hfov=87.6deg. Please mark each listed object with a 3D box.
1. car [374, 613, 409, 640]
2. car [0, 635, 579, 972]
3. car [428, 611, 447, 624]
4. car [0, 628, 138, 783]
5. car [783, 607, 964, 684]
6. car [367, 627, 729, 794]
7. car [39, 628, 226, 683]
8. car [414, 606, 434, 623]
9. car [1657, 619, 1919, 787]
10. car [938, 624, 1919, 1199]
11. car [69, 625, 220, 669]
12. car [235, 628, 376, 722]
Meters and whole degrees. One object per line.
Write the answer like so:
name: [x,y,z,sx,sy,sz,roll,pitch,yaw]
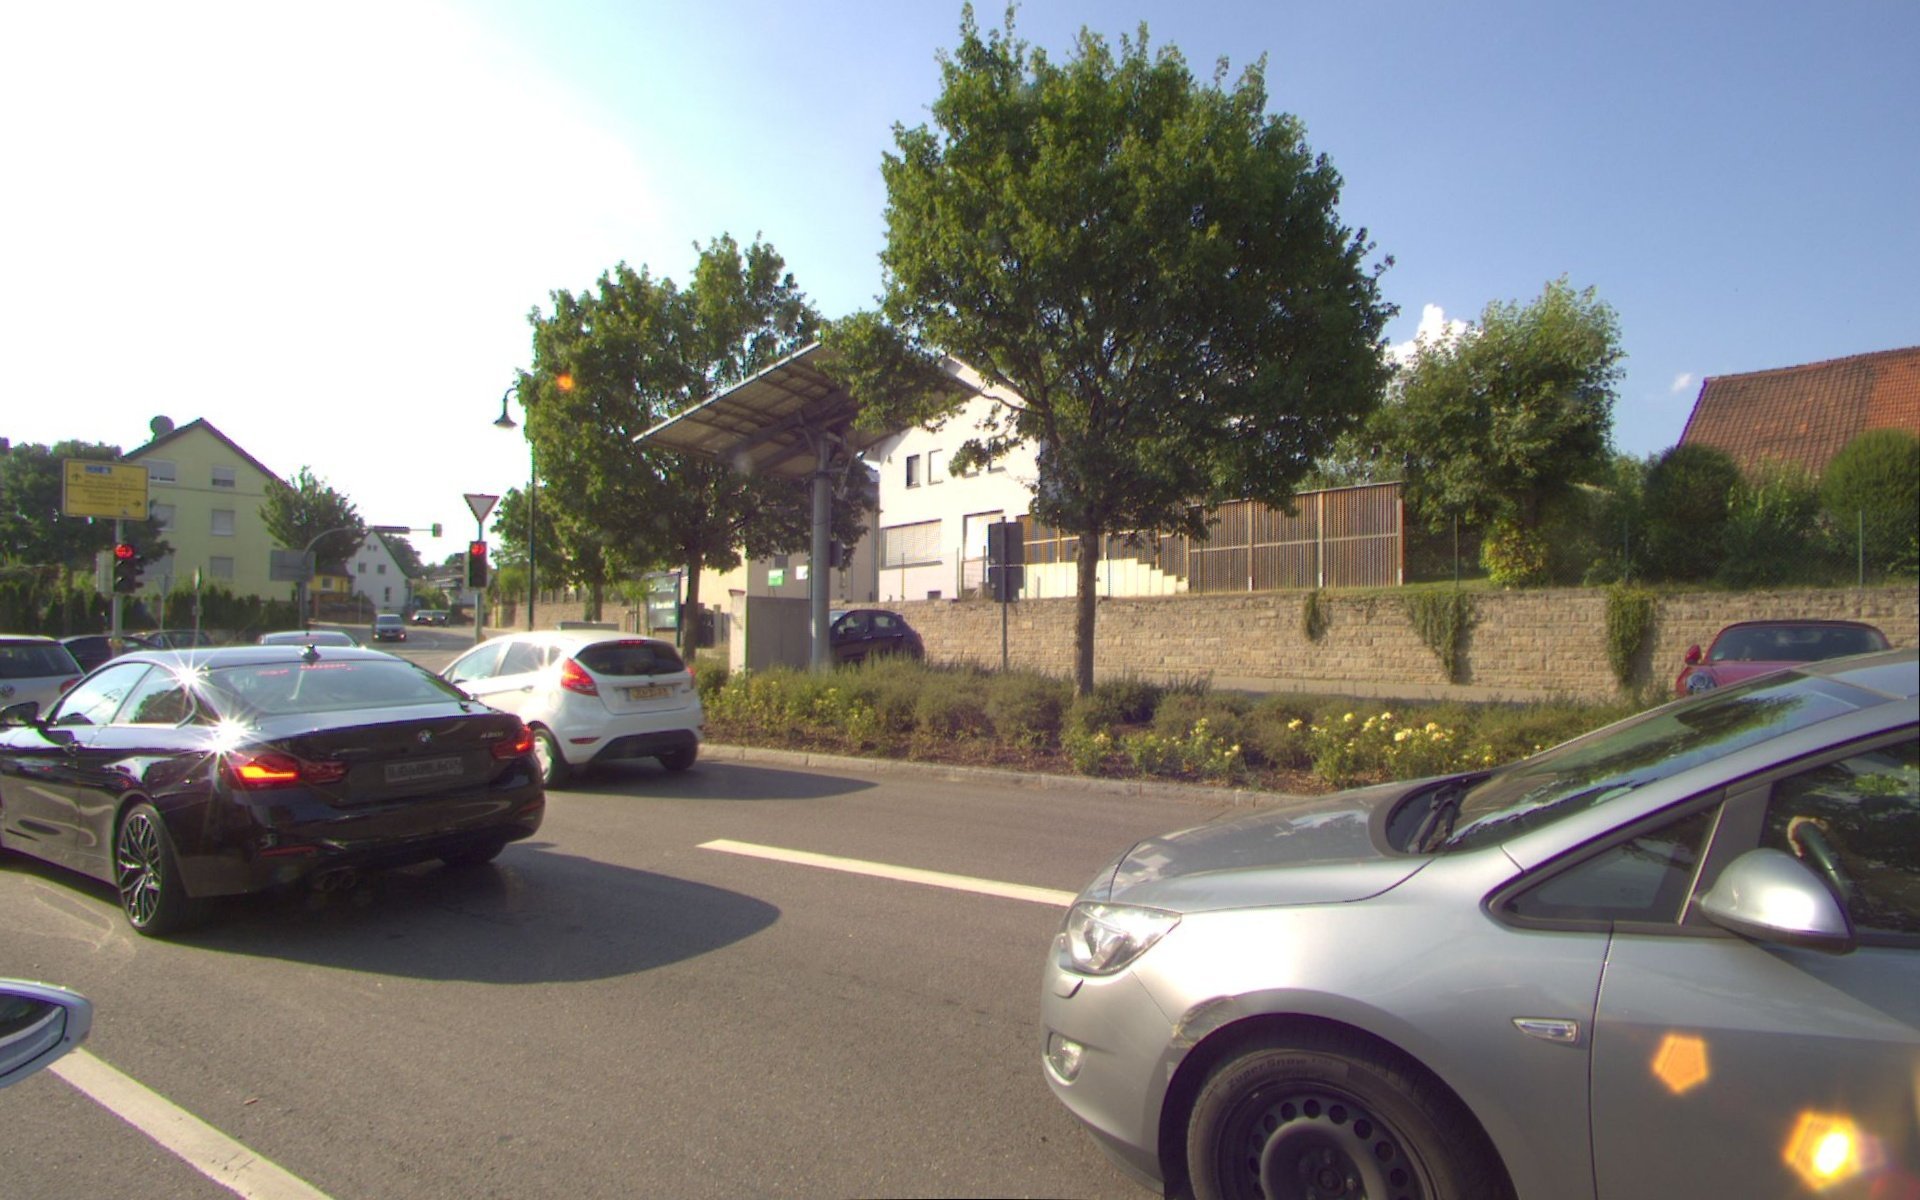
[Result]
car: [-32.895,1.497,57.907,1.692,1.261,3.975,1,2,-31]
car: [-4.474,0.934,6.227,4.287,1.406,1.812,-1,-2,34]
car: [-63.076,2.127,120.910,1.753,1.600,3.987,1,-2,-24]
car: [-10.763,1.038,10.787,4.287,1.465,1.812,-1,-2,34]
car: [-1.924,1.033,23.160,1.835,1.628,3.964,-1,-2,45]
car: [-4.475,1.023,10.672,4.015,1.469,1.724,-1,-2,36]
car: [-23.764,1.557,28.866,1.753,1.477,3.966,-1,-2,43]
car: [-53.629,1.468,100.236,1.755,1.600,3.983,1,-2,-27]
car: [8.213,0.860,9.643,1.835,1.288,3.964,-1,-2,45]
car: [2.134,0.789,2.225,4.107,1.460,1.741,-1,-2,32]
car: [-30.187,1.712,37.229,1.759,1.526,4.065,0,-2,17]
car: [-11.760,1.231,17.847,1.667,1.454,4.553,1,-2,-39]
